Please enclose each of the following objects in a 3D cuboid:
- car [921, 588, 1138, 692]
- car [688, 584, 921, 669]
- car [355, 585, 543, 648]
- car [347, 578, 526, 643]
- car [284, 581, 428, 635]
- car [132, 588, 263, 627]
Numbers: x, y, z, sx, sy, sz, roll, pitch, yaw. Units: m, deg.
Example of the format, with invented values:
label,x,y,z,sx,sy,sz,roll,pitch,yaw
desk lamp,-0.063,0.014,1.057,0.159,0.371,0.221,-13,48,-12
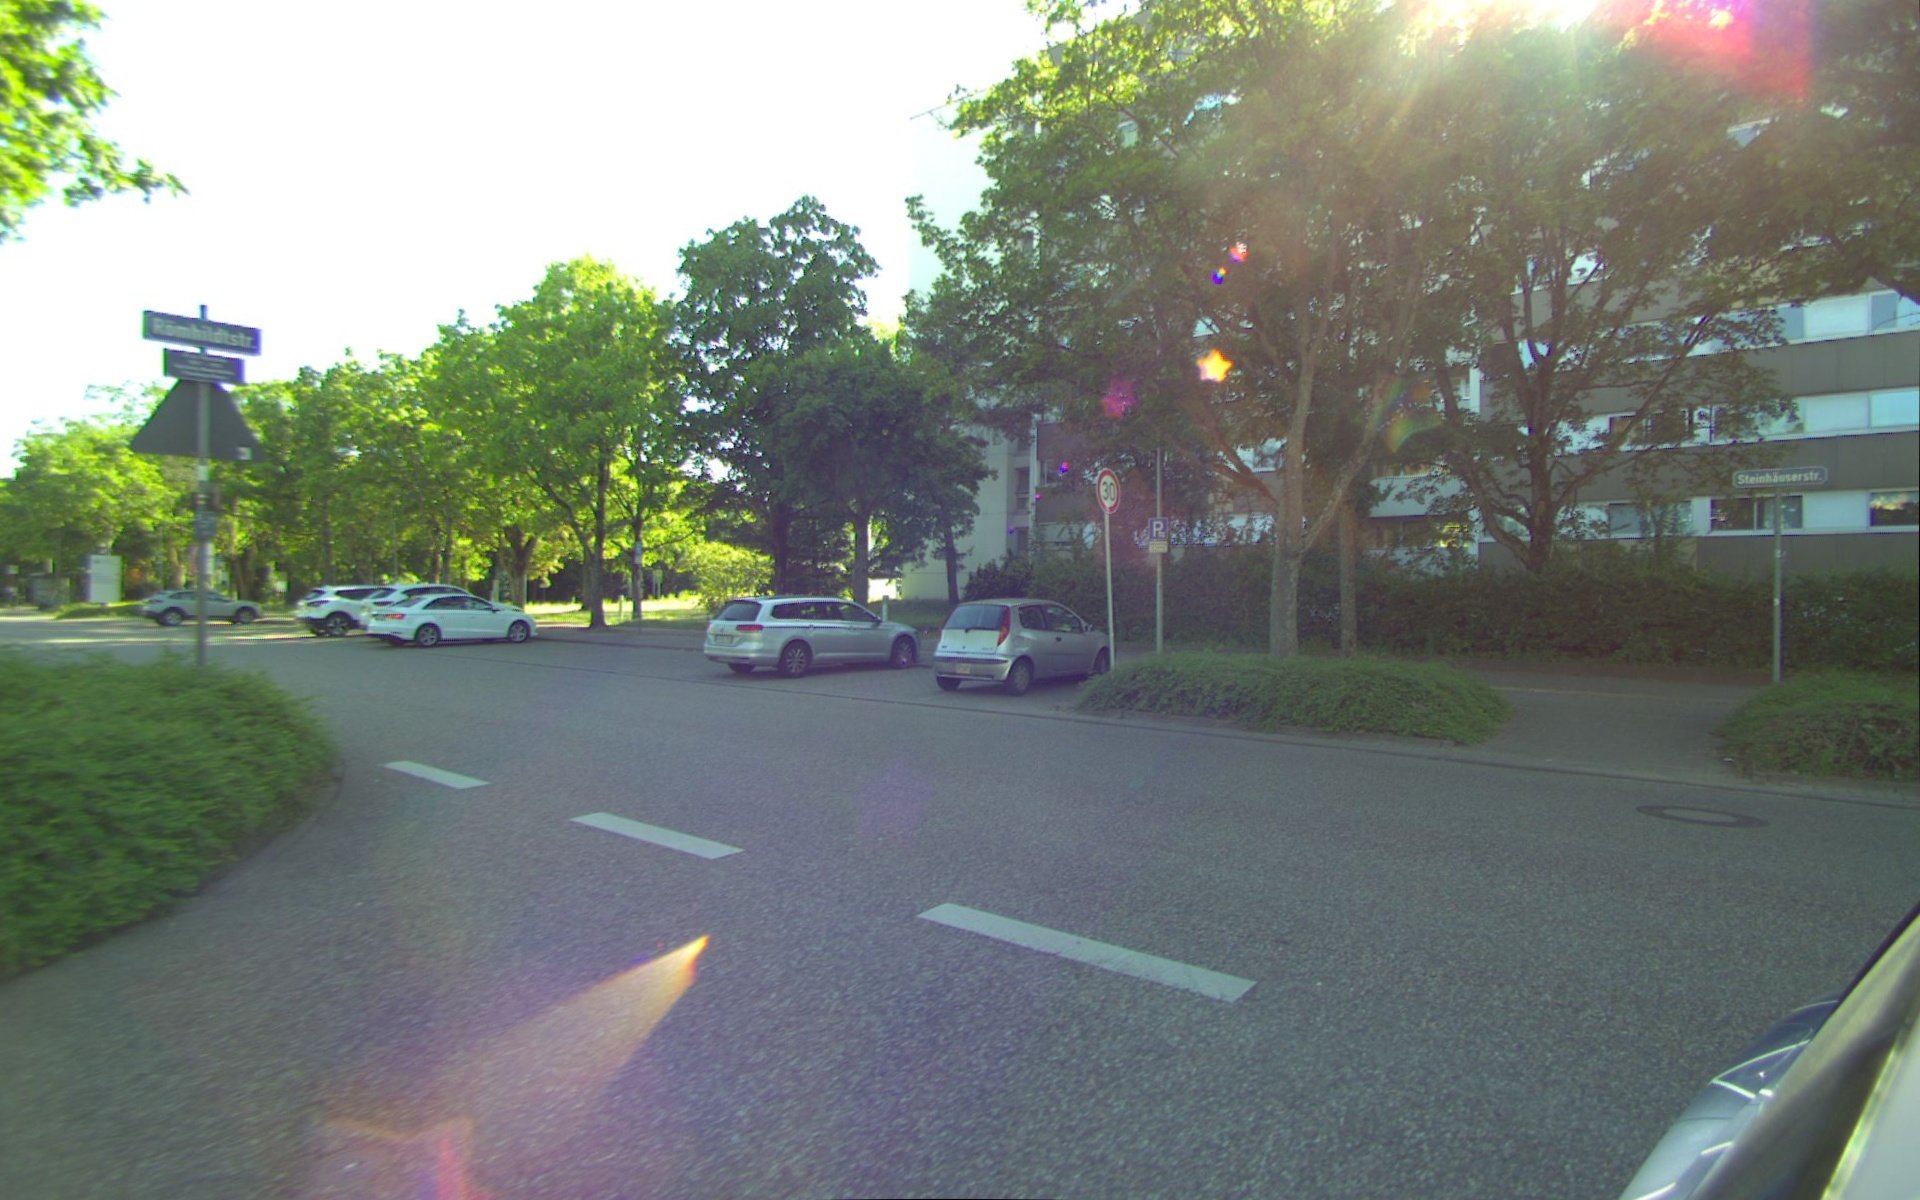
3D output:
label,x,y,z,sx,sy,sz,roll,pitch,yaw
car,1.271,0.564,16.947,1.708,1.469,3.945,1,2,39
car,-2.885,0.468,19.438,1.821,1.446,4.221,0,-1,43
car,-13.901,0.386,27.764,1.728,1.508,4.300,0,2,37
car,-15.472,0.244,30.109,1.805,1.667,4.392,1,3,37
car,-19.441,0.199,32.699,1.641,1.541,3.653,1,3,37
car,-32.538,0.281,43.276,1.990,1.446,4.122,0,3,38
